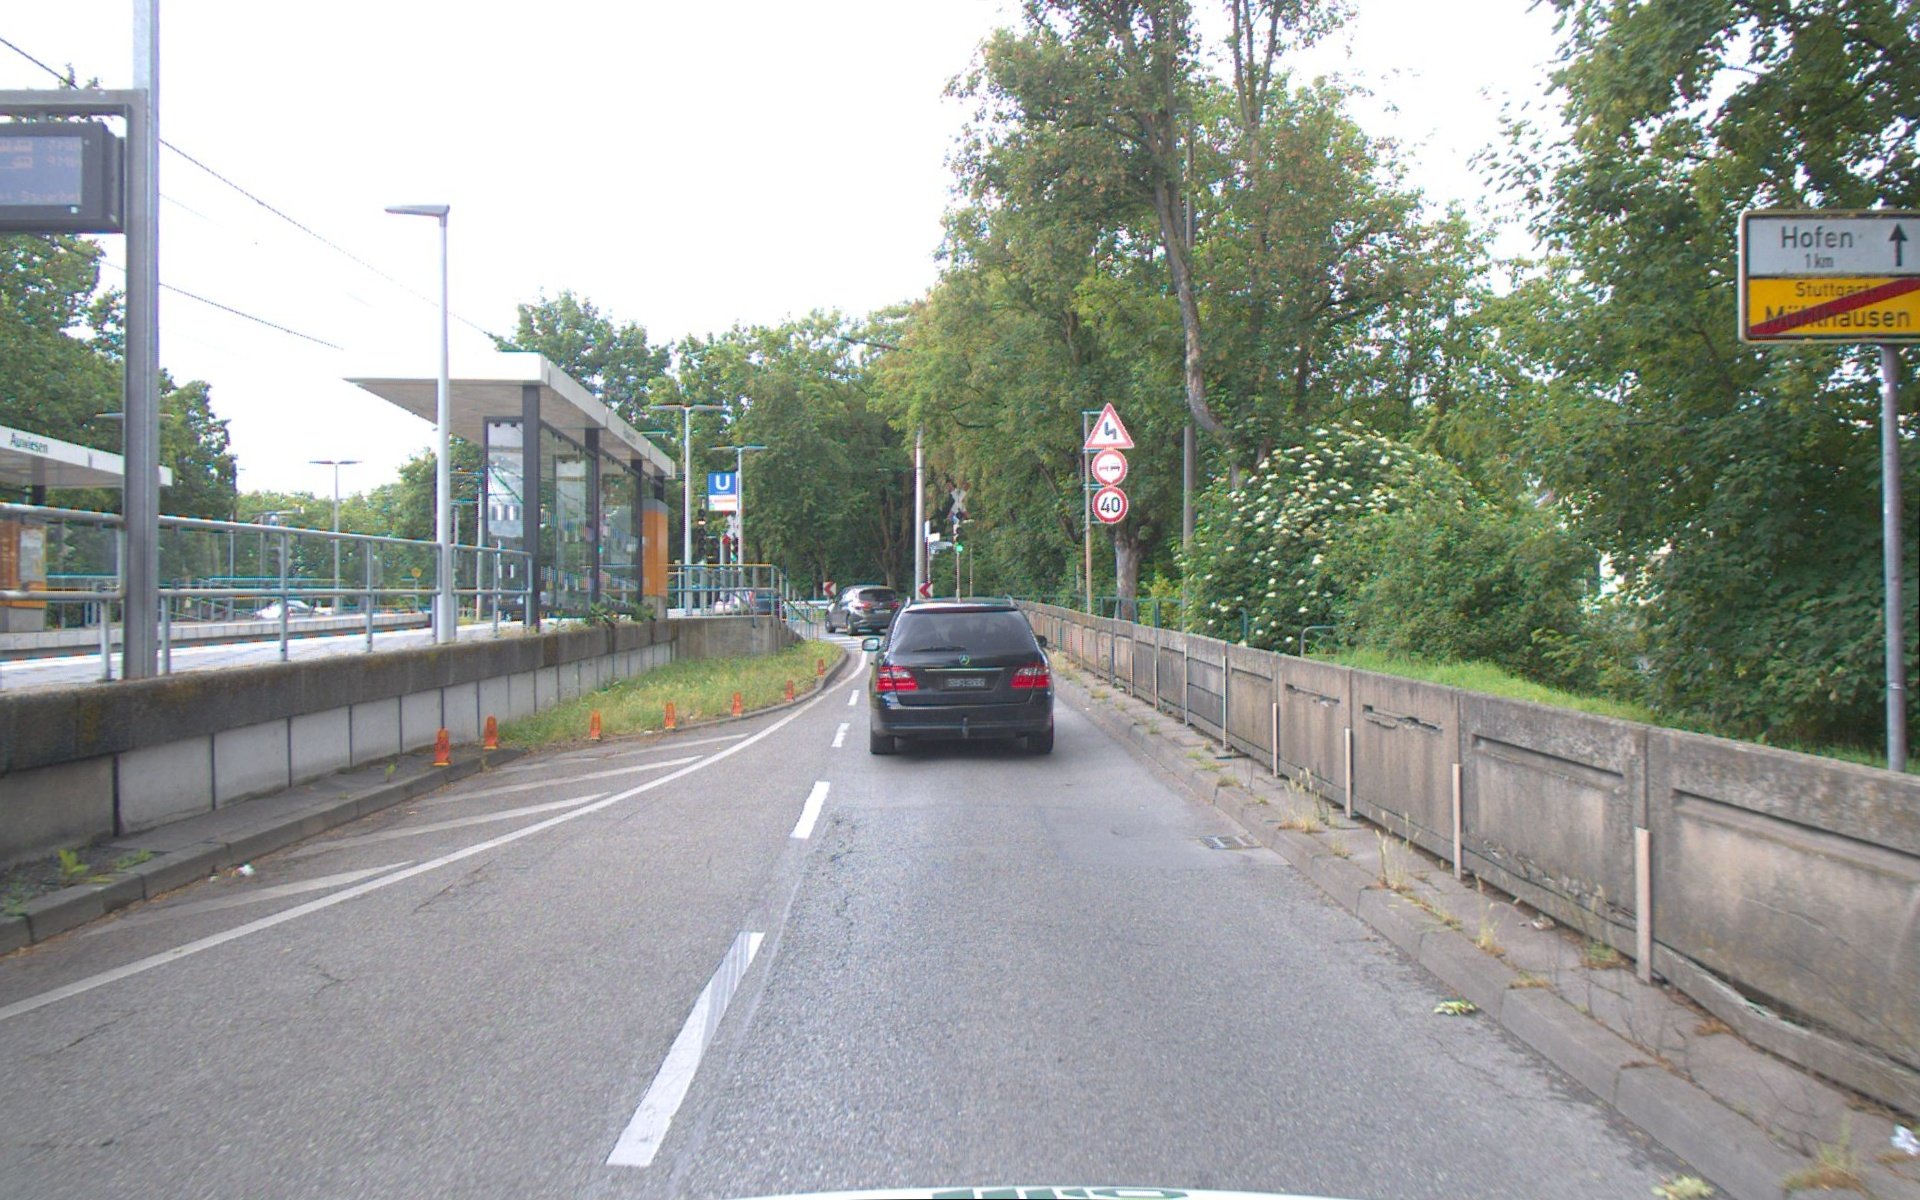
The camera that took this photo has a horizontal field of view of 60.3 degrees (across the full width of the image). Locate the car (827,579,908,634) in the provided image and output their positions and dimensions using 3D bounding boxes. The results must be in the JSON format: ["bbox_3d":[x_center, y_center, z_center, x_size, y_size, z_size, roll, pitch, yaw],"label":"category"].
[{"bbox_3d":[-2.966,0.189,52.298,1.753,1.677,3.983,0,0,-16],"label":"car"}]

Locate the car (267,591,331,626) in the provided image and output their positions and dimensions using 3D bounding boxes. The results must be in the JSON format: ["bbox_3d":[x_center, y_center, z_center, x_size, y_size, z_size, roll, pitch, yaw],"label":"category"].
[{"bbox_3d":[-35.188,0.451,88.024,3.323,1.736,1.608,1,-2,36],"label":"car"}]

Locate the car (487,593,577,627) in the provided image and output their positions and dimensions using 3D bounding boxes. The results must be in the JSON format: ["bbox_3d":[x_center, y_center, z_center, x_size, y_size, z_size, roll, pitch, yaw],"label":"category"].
[{"bbox_3d":[-18.616,0.427,71.808,3.929,1.423,1.988,0,1,42],"label":"car"}]

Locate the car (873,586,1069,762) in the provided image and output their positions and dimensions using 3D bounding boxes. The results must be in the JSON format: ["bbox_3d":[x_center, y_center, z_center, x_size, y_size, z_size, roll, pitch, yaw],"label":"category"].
[{"bbox_3d":[0.079,0.644,16.731,1.745,1.552,4.000,0,1,-1],"label":"car"}]

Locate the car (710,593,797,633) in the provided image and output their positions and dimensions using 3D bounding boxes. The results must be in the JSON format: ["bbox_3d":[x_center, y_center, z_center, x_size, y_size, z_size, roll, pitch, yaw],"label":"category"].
[{"bbox_3d":[-7.777,0.458,62.034,1.971,1.423,3.963,0,1,-28],"label":"car"}]
